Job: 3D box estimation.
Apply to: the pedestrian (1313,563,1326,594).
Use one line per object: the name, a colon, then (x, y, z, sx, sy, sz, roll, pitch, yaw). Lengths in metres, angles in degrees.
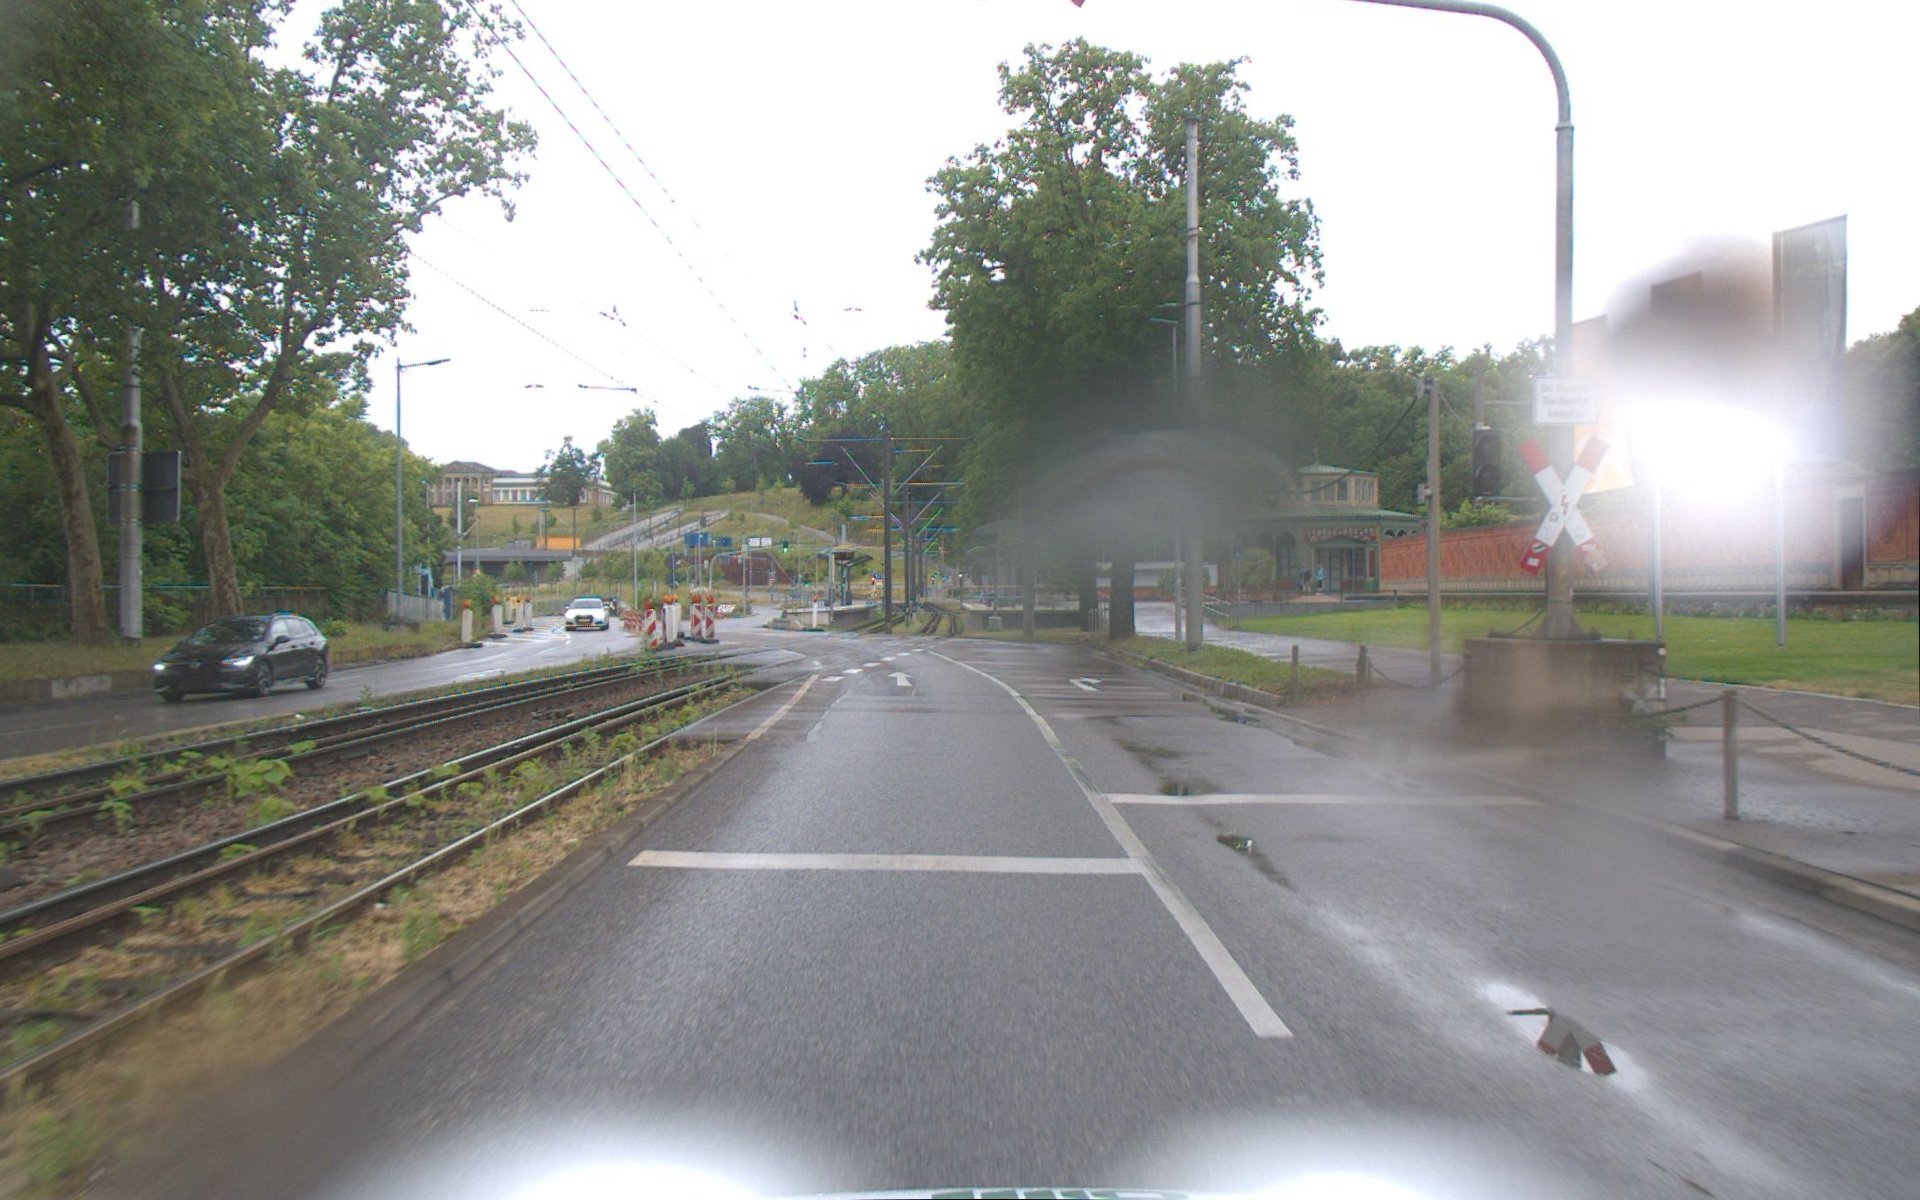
pedestrian: (19.936, -1.172, 91.731, 0.540, 1.686, 0.468, -1, -1, 34)

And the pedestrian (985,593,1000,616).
pedestrian: (1.646, 0.245, 84.112, 0.590, 1.138, 0.518, 4, -2, -16)

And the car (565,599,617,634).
car: (-17.010, 0.743, 76.396, 1.675, 1.525, 4.715, -2, 0, -5)

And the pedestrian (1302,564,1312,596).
pedestrian: (19.369, -1.097, 92.389, 0.520, 1.741, 0.696, 1, -2, 11)

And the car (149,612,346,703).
car: (-12.926, 0.987, 30.318, 1.711, 1.455, 4.558, -2, 0, -2)
